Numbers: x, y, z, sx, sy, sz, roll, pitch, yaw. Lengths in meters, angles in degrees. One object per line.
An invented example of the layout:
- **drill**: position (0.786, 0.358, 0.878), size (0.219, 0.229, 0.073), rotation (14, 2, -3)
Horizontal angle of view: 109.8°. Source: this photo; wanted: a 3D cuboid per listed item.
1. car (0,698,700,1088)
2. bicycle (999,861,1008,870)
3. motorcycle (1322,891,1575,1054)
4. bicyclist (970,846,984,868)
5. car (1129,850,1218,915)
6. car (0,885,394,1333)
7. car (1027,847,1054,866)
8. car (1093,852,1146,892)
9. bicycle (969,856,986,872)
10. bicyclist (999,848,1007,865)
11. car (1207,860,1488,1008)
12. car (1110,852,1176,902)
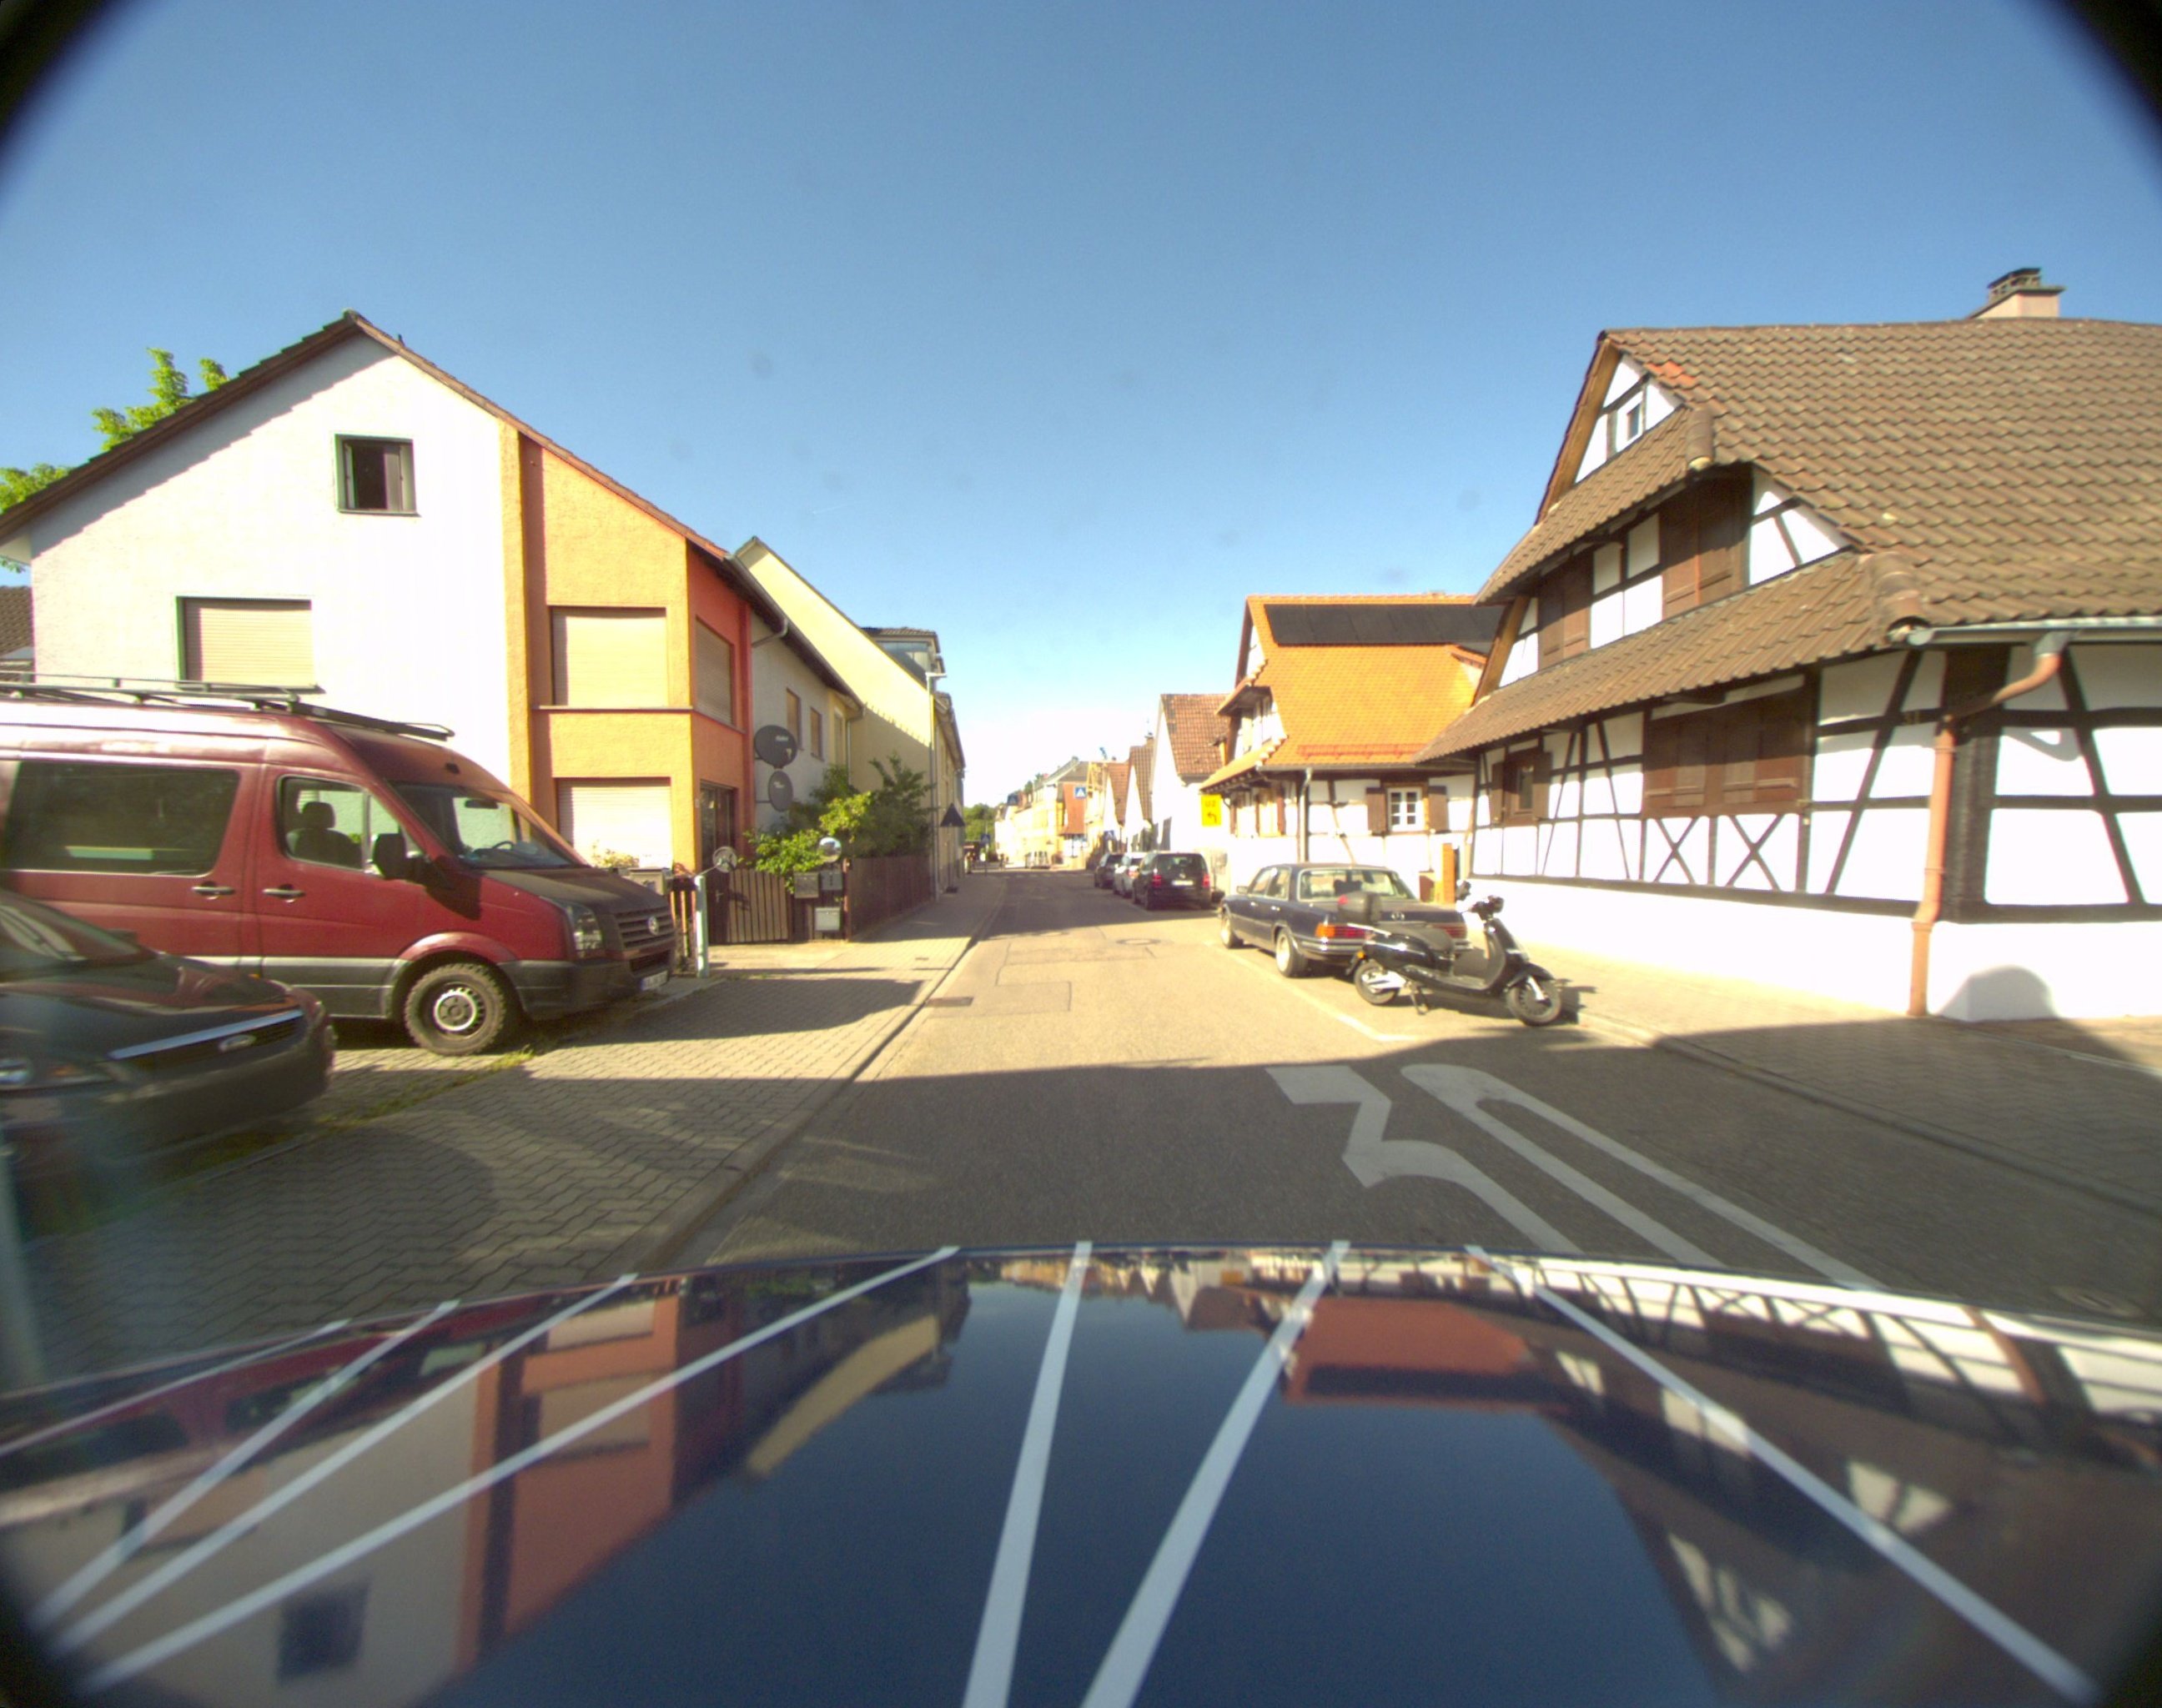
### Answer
- **car**: position (-6.571, 0.249, 6.214), size (5.822, 2.640, 1.966), rotation (0, 2, -7)
- **bicycle**: position (-7.161, 1.037, 70.241), size (0.624, 0.775, 1.910), rotation (-4, 2, -10)
- **motorcycle**: position (3.306, 0.991, 6.974), size (1.989, 1.224, 0.628), rotation (0, 1, 41)
- **bicyclist**: position (-11.625, 0.303, 84.995), size (1.258, 2.295, 1.241), rotation (-4, 2, -14)
- **car**: position (2.540, 0.737, 21.953), size (1.789, 1.595, 4.359), rotation (-1, 1, -3)
- **car**: position (-6.098, 0.931, 3.284), size (4.387, 1.478, 1.838), rotation (0, 2, -5)
- **car**: position (-4.185, 0.235, 77.411), size (1.882, 1.870, 4.828), rotation (-1, 1, -14)
- **car**: position (1.660, 0.758, 34.123), size (1.747, 1.605, 3.997), rotation (-1, 1, -6)
- **bicycle**: position (-11.558, 1.116, 84.972), size (1.258, 1.543, 3.994), rotation (-4, 2, -15)
- **bicyclist**: position (-7.224, 0.267, 70.267), size (0.610, 1.525, 0.654), rotation (-4, 2, -11)
- **car**: position (3.206, 0.848, 10.440), size (1.850, 1.398, 5.034), rotation (0, 1, -3)
- **car**: position (2.145, 0.747, 27.346), size (1.821, 1.558, 4.166), rotation (-1, 1, -3)
